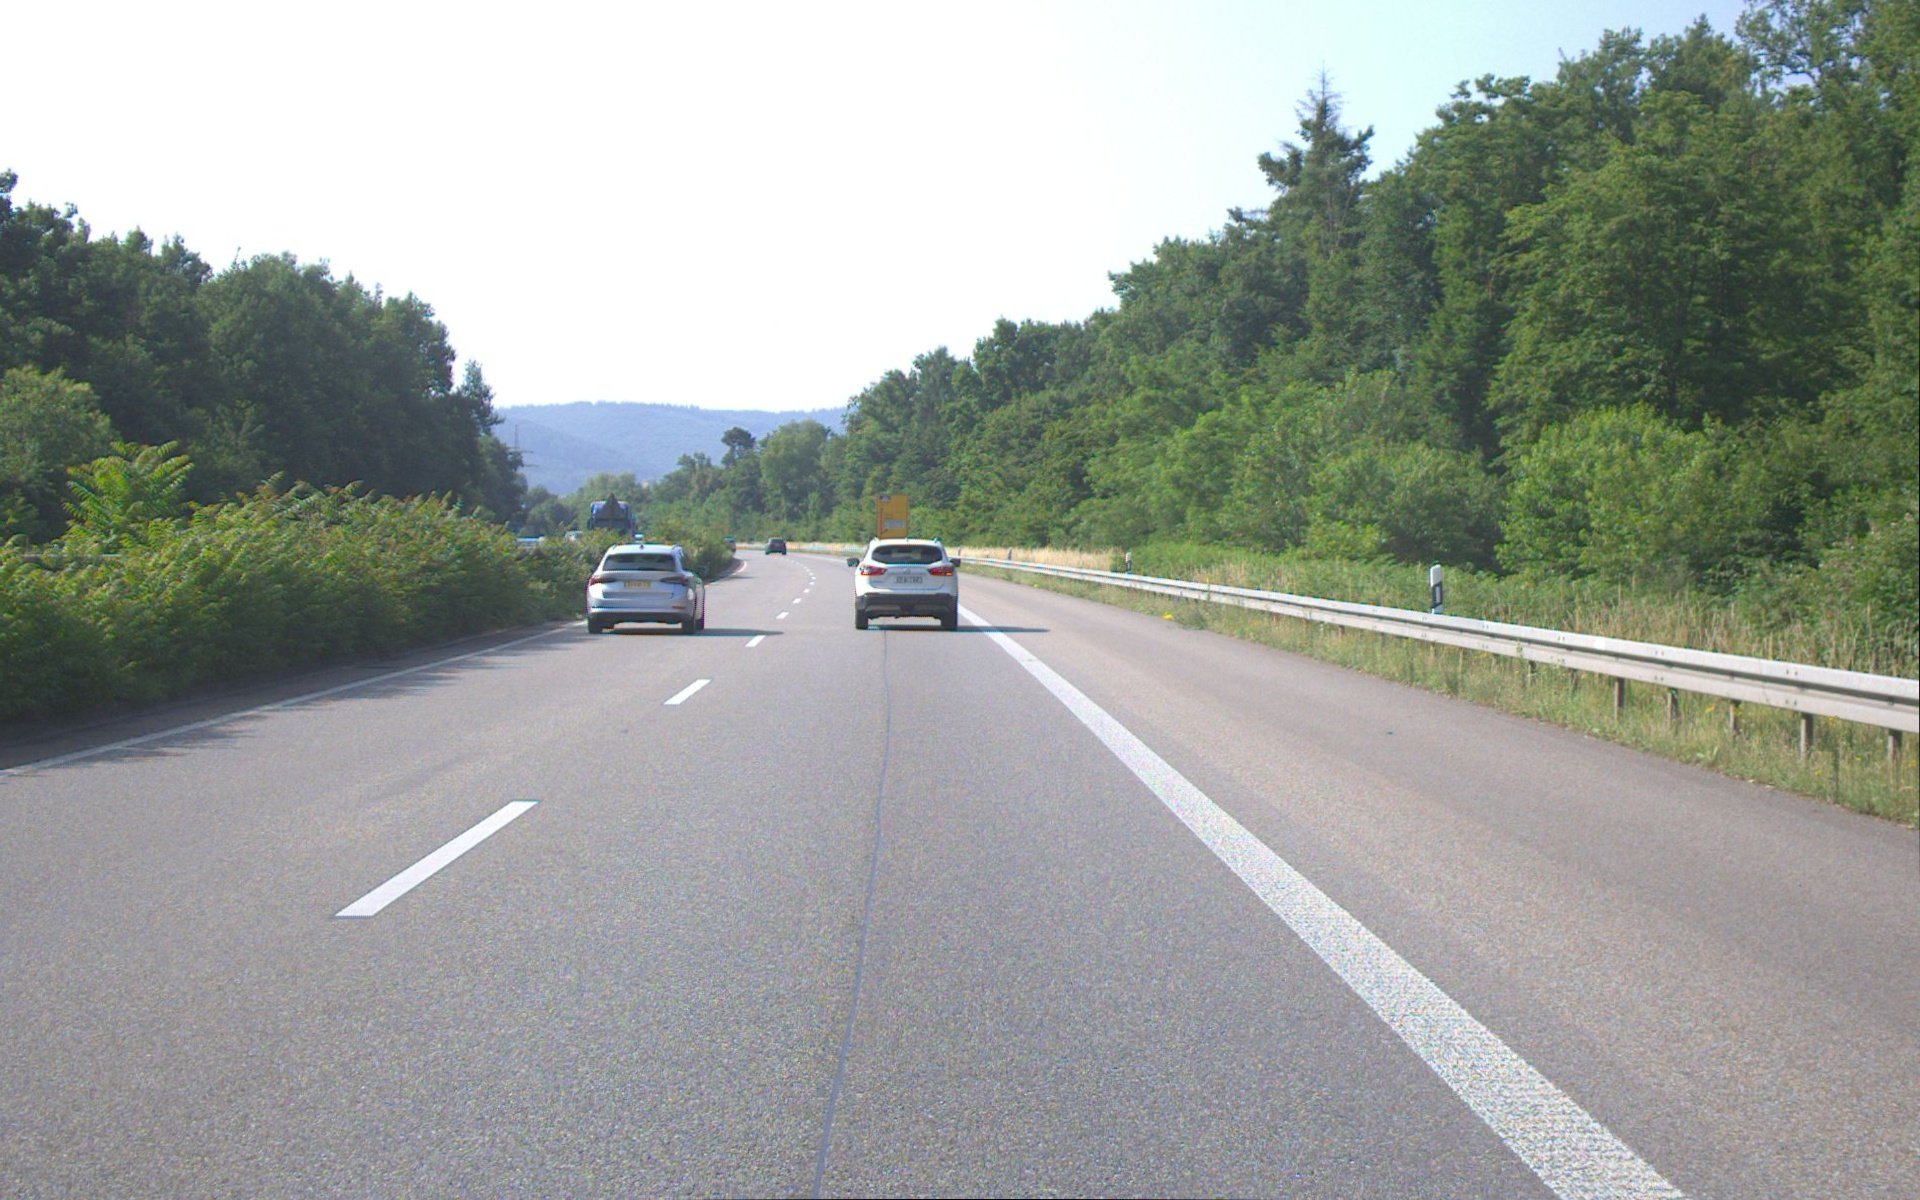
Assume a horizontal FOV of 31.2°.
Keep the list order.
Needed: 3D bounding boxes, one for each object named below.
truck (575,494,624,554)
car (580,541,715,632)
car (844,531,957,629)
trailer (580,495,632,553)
[{"bbox_3d":[-24.754,-5.202,236.418,2.784,3.985,8.417,1,1,-2],"label":"truck"},{"bbox_3d":[-5.207,-0.265,57.844,1.792,1.433,5.279,0,1,0],"label":"car"},{"bbox_3d":[-1.083,-0.379,60.963,1.873,1.580,4.001,2,1,-2],"label":"car"},{"bbox_3d":[-25.016,-5.354,243.249,2.831,3.985,11.435,1,1,-2],"label":"trailer"}]
